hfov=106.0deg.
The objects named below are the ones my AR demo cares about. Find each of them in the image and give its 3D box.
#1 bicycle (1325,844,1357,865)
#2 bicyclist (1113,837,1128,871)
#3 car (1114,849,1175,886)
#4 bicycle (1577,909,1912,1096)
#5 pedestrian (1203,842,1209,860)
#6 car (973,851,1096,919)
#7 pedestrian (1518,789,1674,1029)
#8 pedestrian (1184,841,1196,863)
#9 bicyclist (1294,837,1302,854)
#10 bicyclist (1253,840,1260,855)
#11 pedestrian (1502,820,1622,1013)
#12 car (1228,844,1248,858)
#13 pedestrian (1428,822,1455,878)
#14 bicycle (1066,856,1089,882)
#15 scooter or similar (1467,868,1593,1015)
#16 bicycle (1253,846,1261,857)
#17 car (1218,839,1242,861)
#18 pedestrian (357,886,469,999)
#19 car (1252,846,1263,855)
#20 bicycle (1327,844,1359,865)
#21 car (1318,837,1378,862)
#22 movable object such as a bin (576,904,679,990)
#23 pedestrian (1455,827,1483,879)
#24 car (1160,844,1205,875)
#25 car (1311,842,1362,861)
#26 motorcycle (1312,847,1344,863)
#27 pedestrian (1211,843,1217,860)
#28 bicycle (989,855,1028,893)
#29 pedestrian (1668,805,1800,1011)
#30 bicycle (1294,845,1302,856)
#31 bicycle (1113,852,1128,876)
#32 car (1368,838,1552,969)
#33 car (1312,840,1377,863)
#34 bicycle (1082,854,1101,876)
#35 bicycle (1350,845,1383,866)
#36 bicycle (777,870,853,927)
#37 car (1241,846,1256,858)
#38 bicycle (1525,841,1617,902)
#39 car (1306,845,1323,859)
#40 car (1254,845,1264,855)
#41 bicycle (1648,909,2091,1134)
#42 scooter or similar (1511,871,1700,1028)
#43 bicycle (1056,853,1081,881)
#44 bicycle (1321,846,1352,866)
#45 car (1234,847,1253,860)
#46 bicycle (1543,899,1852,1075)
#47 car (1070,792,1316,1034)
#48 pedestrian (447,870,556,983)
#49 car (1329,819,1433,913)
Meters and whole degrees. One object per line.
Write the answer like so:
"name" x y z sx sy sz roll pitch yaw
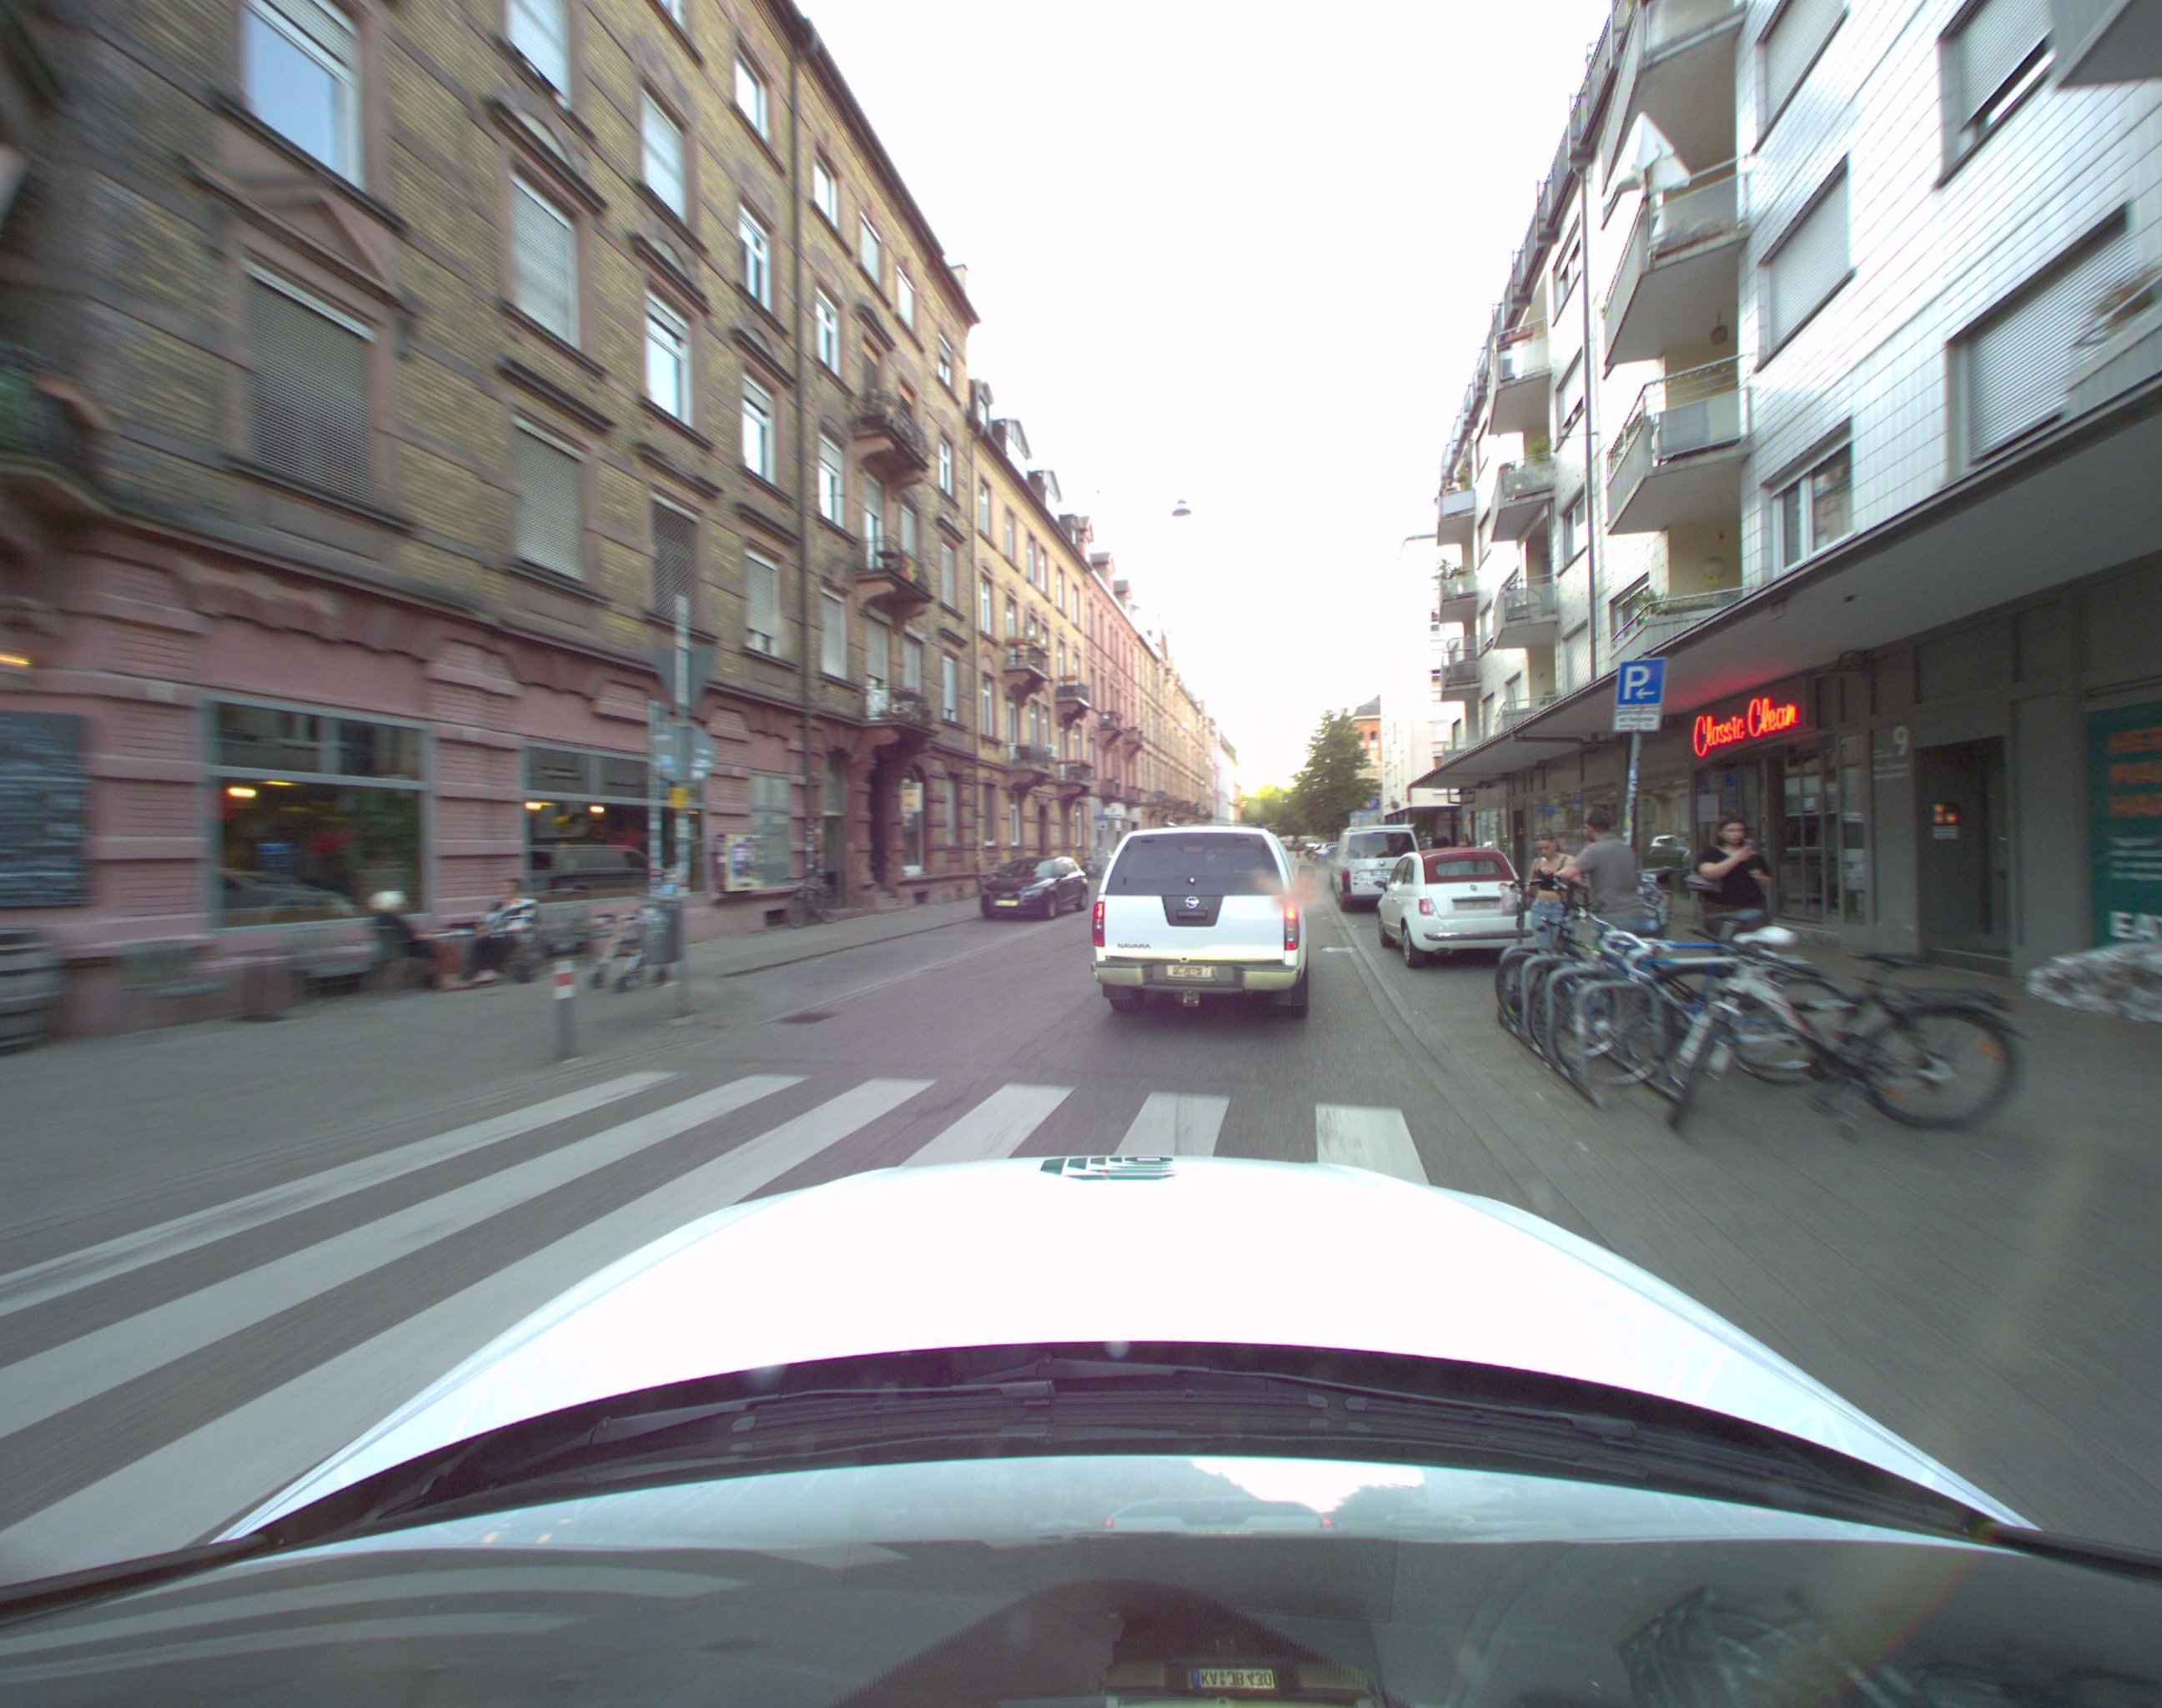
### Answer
"bicycle" 17.059 0.035 53.401 1.853 1.182 0.746 -5 -2 20
"bicyclist" 2.025 -0.002 41.962 0.706 1.729 0.843 0 -1 -1
"car" 2.688 0.502 33.523 1.710 1.420 4.600 0 0 15
"bicycle" 3.820 0.855 4.793 1.408 0.984 0.512 -3 -1 12
"pedestrian" 12.920 -0.314 84.017 0.576 1.771 1.001 1 2 11
"car" -1.017 0.678 19.820 1.680 1.420 3.872 0 1 18
"pedestrian" 4.057 0.398 6.439 0.738 1.756 0.659 -3 0 -20
"pedestrian" 8.832 -0.143 66.029 0.549 1.755 1.029 -1 -1 32
"bicyclist" 22.814 -0.935 85.680 0.640 1.760 0.650 -3 0 13
"bicyclist" 18.623 -0.700 86.343 0.641 1.621 0.920 -3 0 7
"pedestrian" 4.260 0.521 7.230 0.648 1.600 0.587 -3 0 -25
"car" 16.591 -0.291 85.811 1.724 1.418 4.797 0 0 15
"pedestrian" 11.987 -0.129 27.075 0.702 1.828 0.865 -3 -1 21
"bicycle" -0.154 0.654 36.147 0.545 1.037 1.767 1 1 15
"scooter or similar" 4.130 0.754 7.469 1.169 1.171 0.531 -4 2 -36
"bicycle" 18.635 -0.300 86.331 0.641 1.081 2.173 -3 0 8
"car" 14.070 -0.381 76.800 1.979 1.923 4.968 1 1 12
"pedestrian" -7.310 0.940 8.941 0.499 1.143 0.794 -1 -1 16
"car" 28.472 -0.517 131.390 1.687 1.426 4.036 0 1 12
"bicycle" 16.903 0.028 52.567 1.772 1.182 0.738 -6 -2 25
"car" 21.159 -0.352 64.697 4.367 1.647 1.753 -3 0 14
"movable object such as a bin" -5.304 1.069 9.564 0.756 0.916 0.732 -1 -1 11
"pedestrian" 12.687 -0.027 26.630 0.702 1.665 0.748 -3 -1 21
"car" 5.682 0.268 44.995 1.839 1.633 4.464 0 1 15
"car" 21.893 -0.225 69.872 3.959 1.456 1.835 -3 0 12
"motorcycle" 17.742 0.065 58.466 2.051 1.078 0.663 -3 -1 -1
"pedestrian" 13.705 -0.258 83.982 0.601 1.772 0.780 1 2 11
"bicycle" -2.438 0.658 27.565 0.523 1.171 2.057 1 1 18
"pedestrian" 5.470 0.432 6.866 0.717 1.631 0.566 -3 0 29
"bicycle" 22.851 -0.409 85.743 0.640 1.081 1.839 -3 0 13
"bicycle" 2.026 0.498 41.926 0.706 1.196 1.741 0 -1 0
"car" 5.098 0.586 11.411 1.581 1.501 3.435 -3 0 13
"car" 20.037 -0.191 62.123 4.397 1.455 1.784 -3 0 9
"bicycle" 0.522 0.510 39.440 0.446 1.022 1.856 2 1 15
"bicycle" 16.883 0.074 48.173 1.715 1.132 0.579 -3 -1 3
"bicycle" -5.459 0.886 16.846 0.422 1.053 1.907 -1 0 18
"car" 21.412 -0.258 103.964 1.624 1.565 3.796 0 0 14
"bicycle" 10.440 0.369 17.449 0.907 1.196 1.712 -3 -1 2
"car" 27.016 -0.304 94.215 1.663 1.429 4.497 -5 -1 16
"car" 29.961 -0.658 137.156 1.687 1.552 4.036 0 1 12
"bicycle" 3.888 0.822 4.133 1.537 1.001 0.512 -3 -1 12
"scooter or similar" 4.241 0.761 6.646 1.153 1.171 0.538 -3 1 8
"bicycle" -0.528 0.530 34.787 0.545 1.123 1.767 1 1 15
"bicycle" 15.643 0.112 49.833 1.710 1.118 0.709 -3 -1 13
"car" 18.894 -0.102 94.527 1.820 1.457 4.224 2 1 15
"bicycle" 3.907 0.833 5.290 1.466 1.002 0.513 -3 -1 21
"car" 1.572 0.467 9.016 1.896 1.853 5.292 -2 0 16
"pedestrian" -7.019 0.850 9.903 0.646 1.254 0.908 2 1 0
"car" 7.373 0.232 20.470 1.944 1.973 5.023 -3 0 15
